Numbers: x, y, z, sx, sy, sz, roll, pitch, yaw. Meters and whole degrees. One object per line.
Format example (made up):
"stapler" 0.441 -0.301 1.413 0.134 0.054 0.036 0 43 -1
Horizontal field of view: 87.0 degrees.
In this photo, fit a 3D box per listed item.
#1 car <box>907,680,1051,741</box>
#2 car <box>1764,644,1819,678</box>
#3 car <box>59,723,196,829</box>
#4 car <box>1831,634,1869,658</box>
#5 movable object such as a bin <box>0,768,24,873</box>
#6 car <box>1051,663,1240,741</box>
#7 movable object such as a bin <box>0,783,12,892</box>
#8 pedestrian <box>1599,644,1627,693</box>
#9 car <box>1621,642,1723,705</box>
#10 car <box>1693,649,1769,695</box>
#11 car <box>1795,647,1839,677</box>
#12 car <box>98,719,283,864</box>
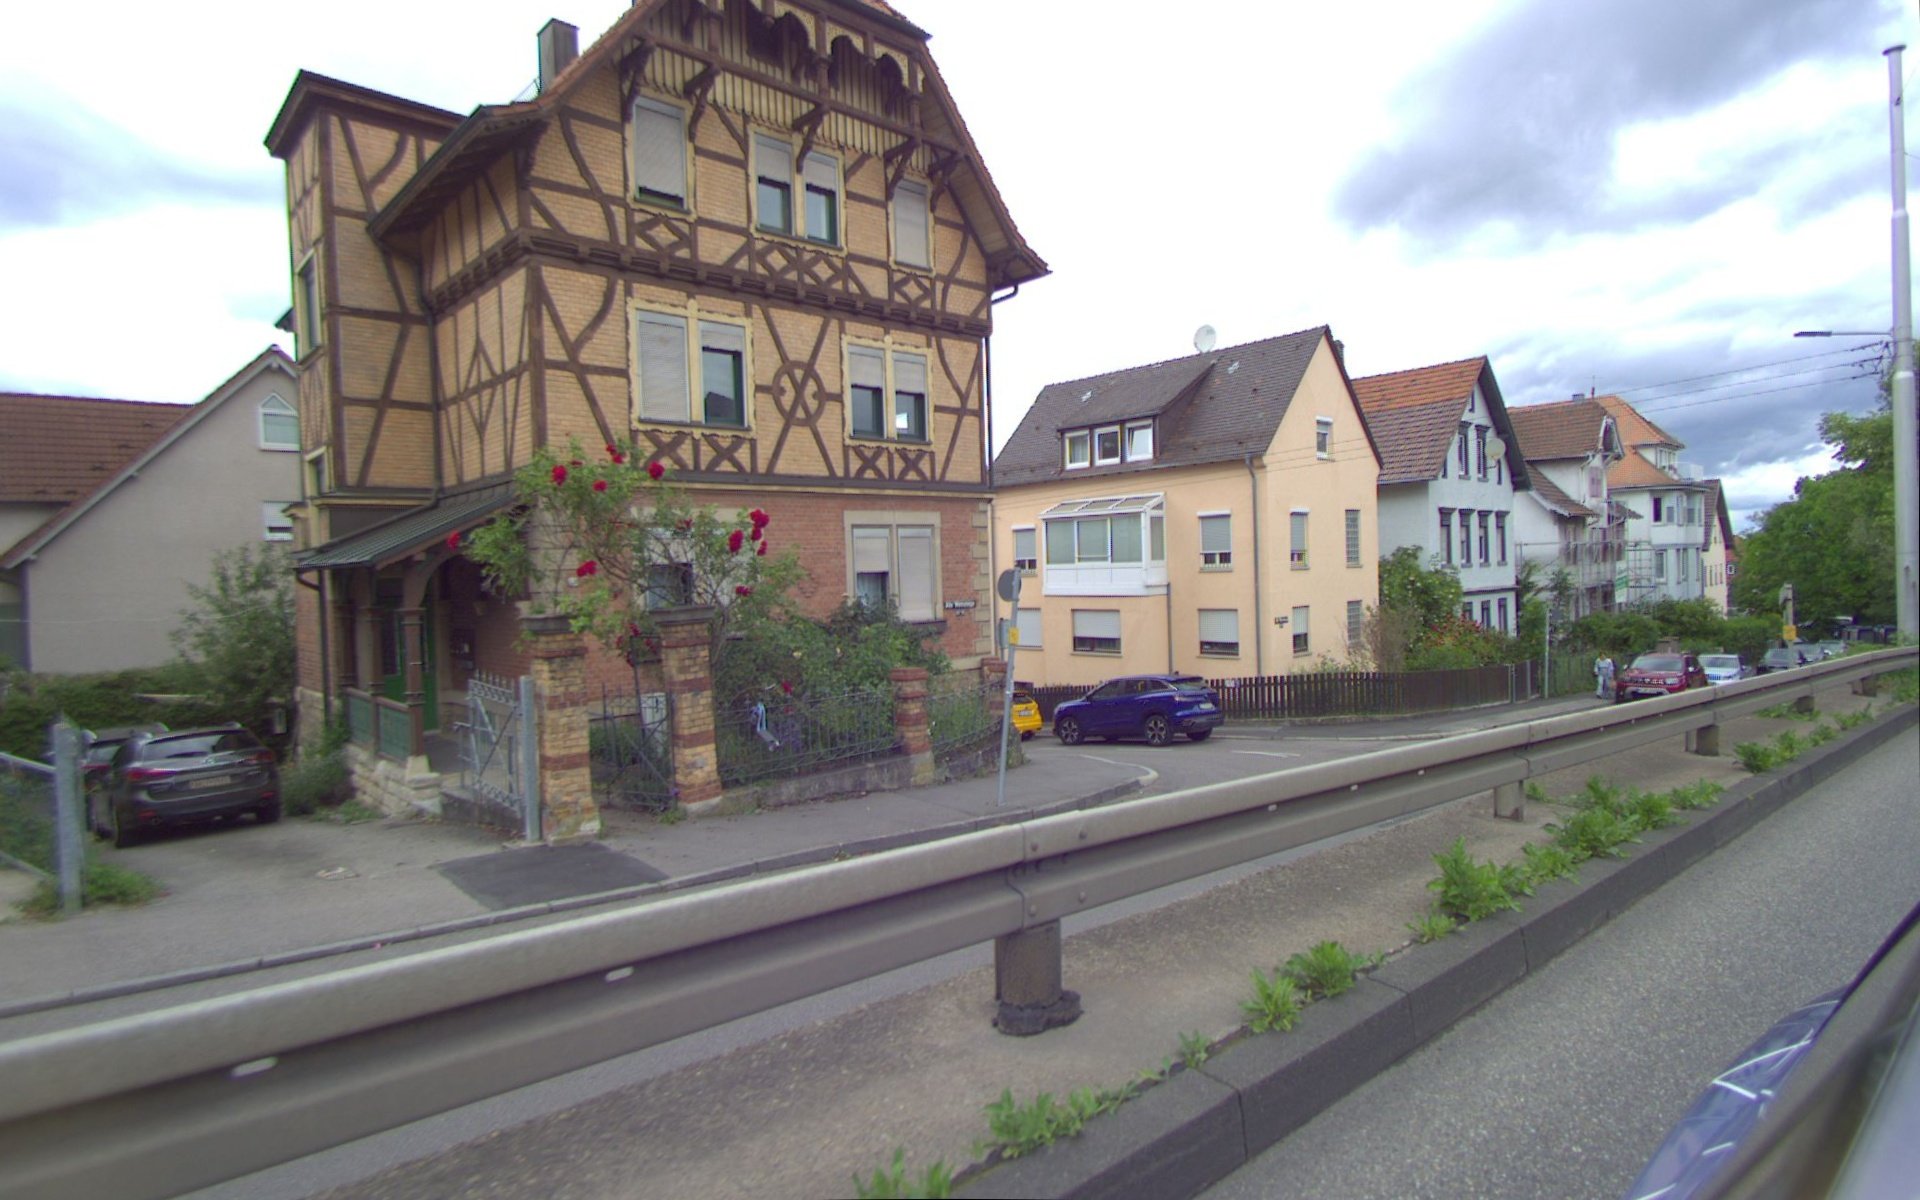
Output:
"car" 0.463 3.126 28.338 1.649 1.481 3.988 1 -7 -43
"car" 40.105 2.910 48.795 3.990 1.467 1.620 1 -1 -44
"car" -15.436 3.166 18.738 1.803 1.604 3.663 1 -6 -41
"car" 55.825 2.875 63.456 1.645 1.413 3.709 -1 -1 44
"movable object such as a bin" -10.722 2.438 11.119 0.578 1.059 0.578 1 -2 -39
"car" 4.361 2.460 24.205 1.966 1.595 3.988 1 -7 -43
"movable object such as a bin" -10.068 2.435 10.261 0.611 1.018 0.534 1 -2 -39
"pedestrian" 20.832 2.179 32.278 0.579 1.499 0.618 1 -2 -42
"car" 22.082 2.215 31.336 4.131 1.691 1.784 1 -1 -43
"car" 28.687 2.618 37.616 4.359 1.460 1.620 1 -1 -44
"car" 47.169 3.401 55.682 1.619 1.467 3.965 -1 -1 44
"car" -10.842 2.546 14.176 1.803 1.604 3.663 1 -6 -41
